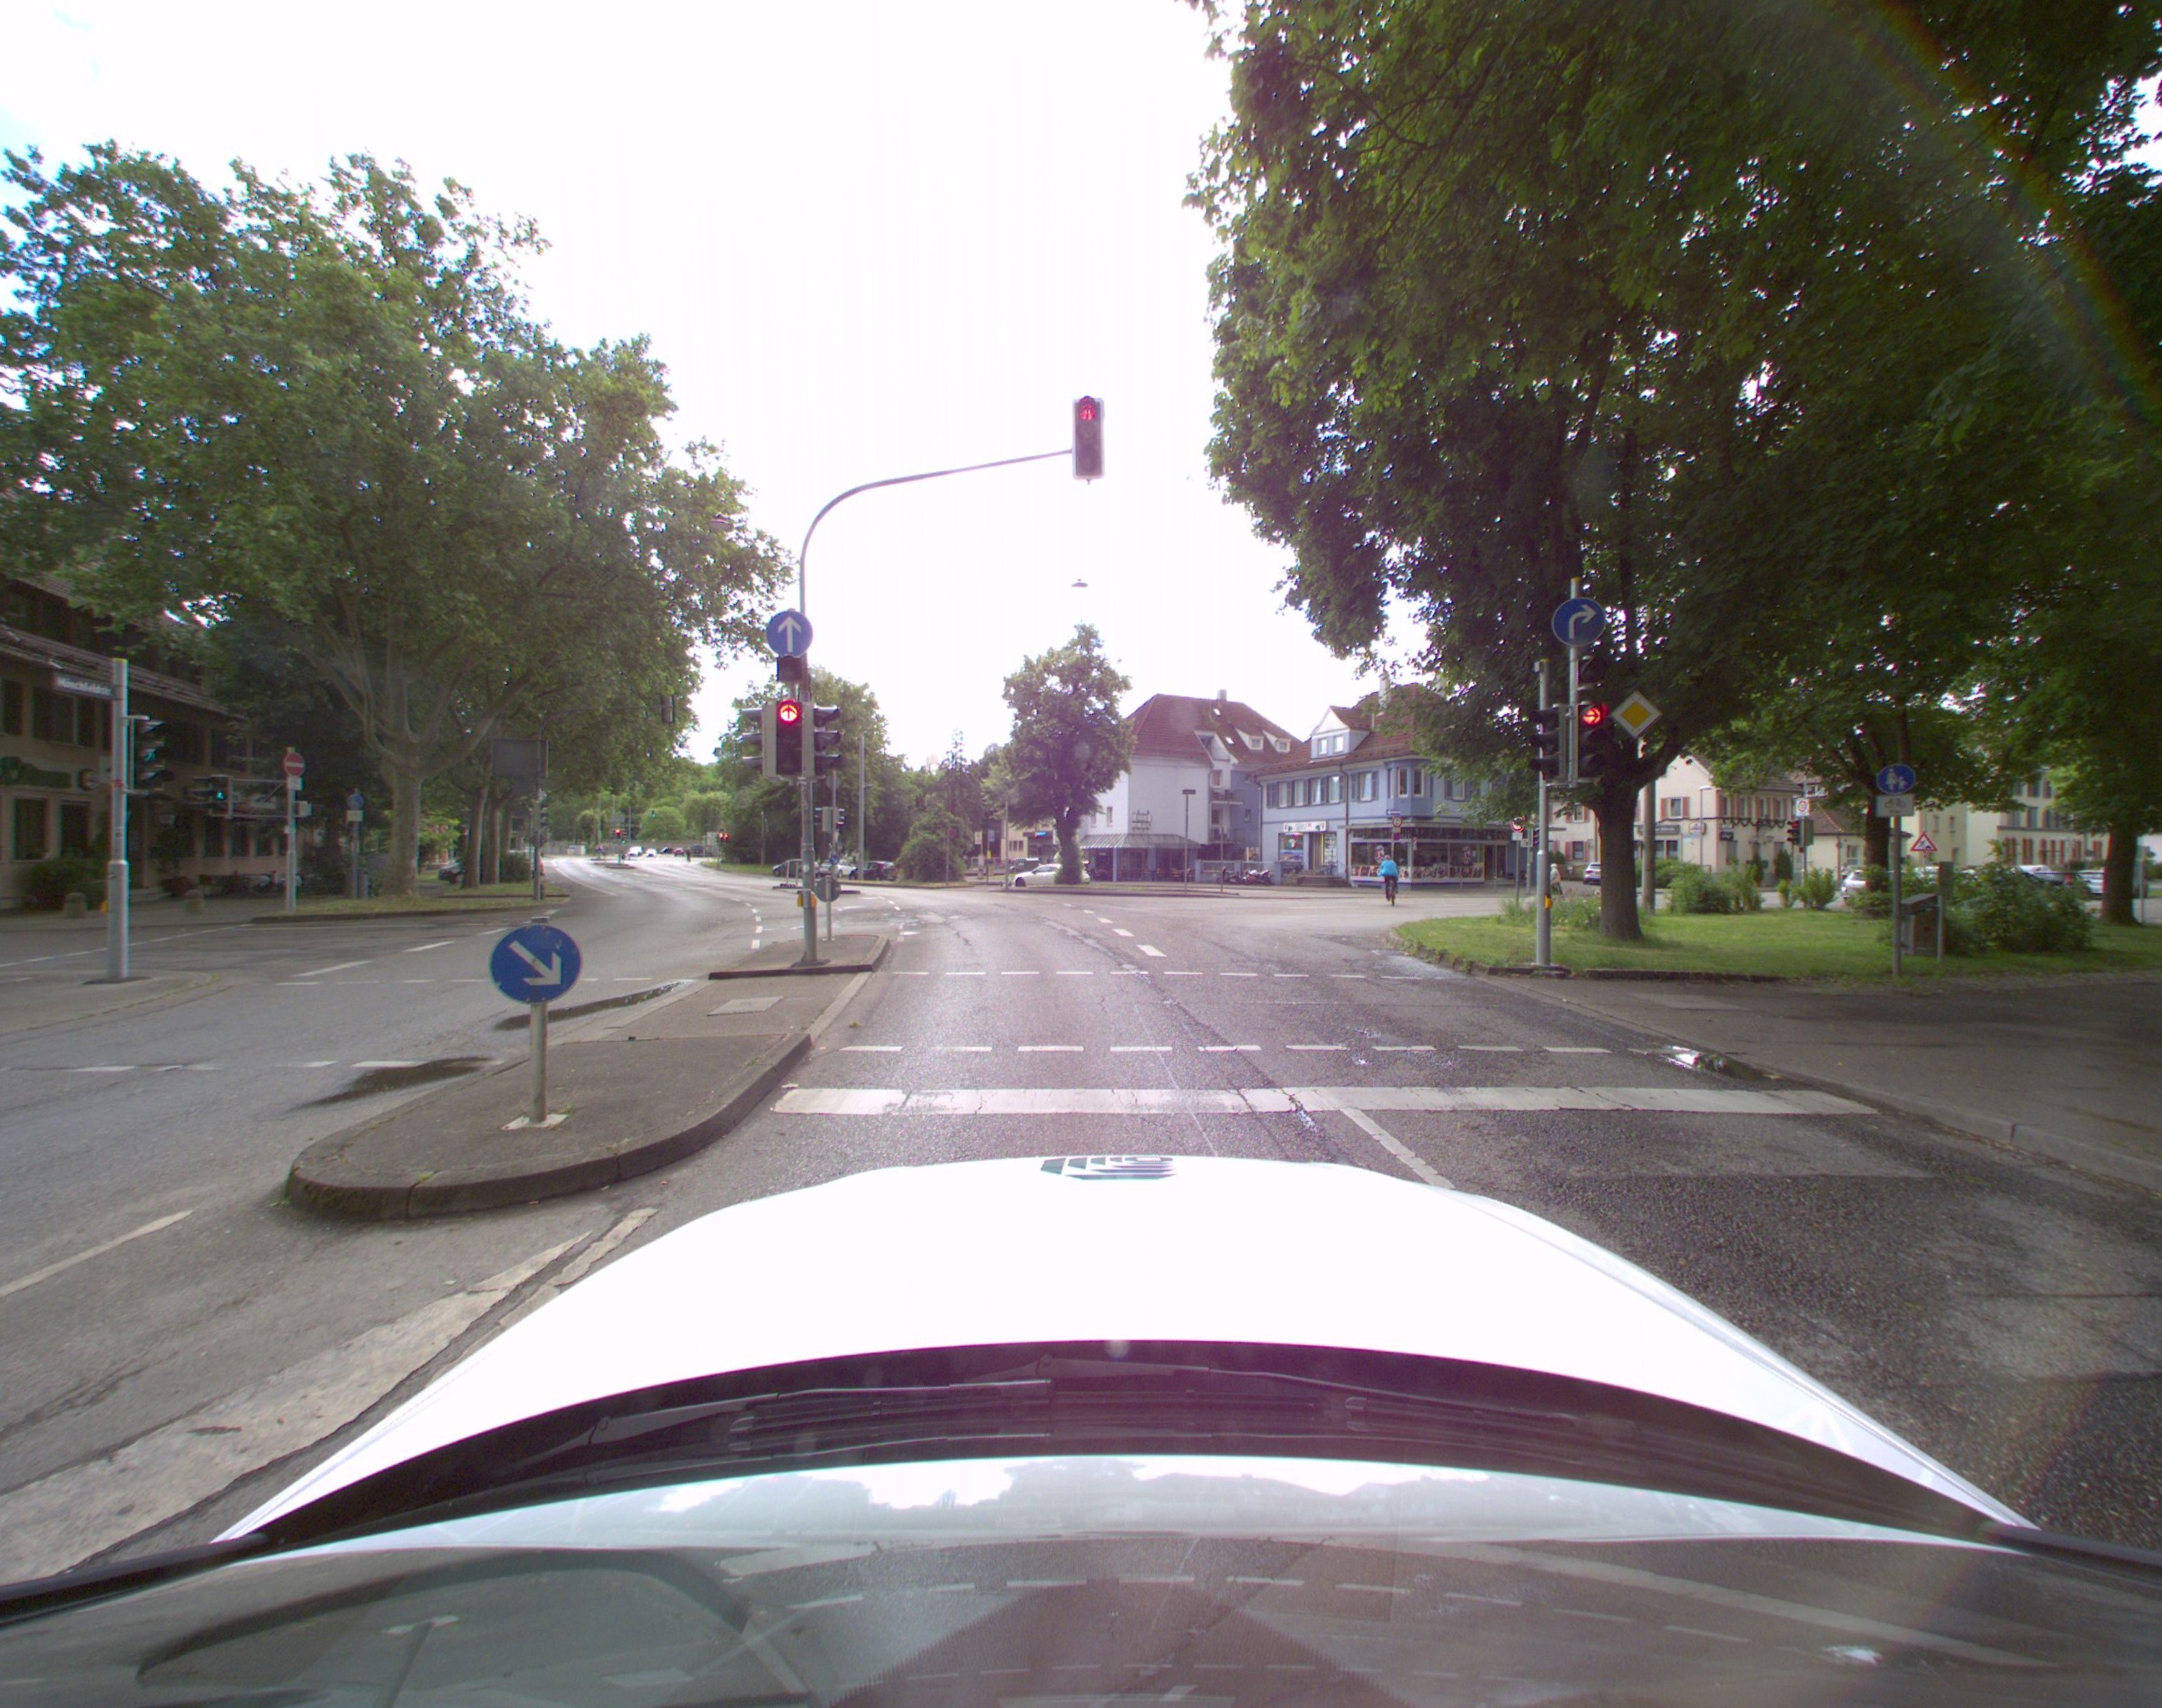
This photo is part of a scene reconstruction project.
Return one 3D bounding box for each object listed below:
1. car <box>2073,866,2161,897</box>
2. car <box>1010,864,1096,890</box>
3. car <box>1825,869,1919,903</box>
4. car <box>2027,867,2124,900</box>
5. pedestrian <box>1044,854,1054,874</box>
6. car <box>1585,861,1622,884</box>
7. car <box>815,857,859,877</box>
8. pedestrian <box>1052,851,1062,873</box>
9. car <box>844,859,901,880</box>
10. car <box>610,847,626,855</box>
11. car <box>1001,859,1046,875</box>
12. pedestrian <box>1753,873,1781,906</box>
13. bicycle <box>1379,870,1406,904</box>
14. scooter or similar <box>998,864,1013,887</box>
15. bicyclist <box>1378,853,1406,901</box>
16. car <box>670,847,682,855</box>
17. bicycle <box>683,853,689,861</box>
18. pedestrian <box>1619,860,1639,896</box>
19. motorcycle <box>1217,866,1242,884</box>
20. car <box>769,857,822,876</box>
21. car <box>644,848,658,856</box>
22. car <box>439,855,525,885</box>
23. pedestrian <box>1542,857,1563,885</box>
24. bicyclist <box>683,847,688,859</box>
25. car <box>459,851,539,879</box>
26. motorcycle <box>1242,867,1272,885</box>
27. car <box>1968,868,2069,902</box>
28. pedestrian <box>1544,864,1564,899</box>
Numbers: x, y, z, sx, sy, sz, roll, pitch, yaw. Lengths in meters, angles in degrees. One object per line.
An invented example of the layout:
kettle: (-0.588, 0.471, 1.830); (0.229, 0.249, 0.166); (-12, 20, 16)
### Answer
car: (52.581, 1.360, 41.291); (3.731, 1.457, 1.640); (0, 0, -17)
car: (-1.611, 1.262, 45.952); (4.654, 1.410, 1.914); (0, 0, 37)
car: (31.937, 1.257, 32.899); (3.007, 1.267, 1.455); (0, -1, -17)
car: (47.066, 1.361, 38.551); (3.731, 1.457, 1.640); (0, 0, -17)
pedestrian: (-3.221, 1.002, 81.071); (0.838, 2.014, 1.051); (0, -1, -12)
car: (32.441, 1.120, 50.650); (1.866, 1.391, 3.637); (0, 0, 31)
car: (-20.158, 1.044, 67.420); (1.848, 1.640, 3.768); (0, 0, 13)
pedestrian: (-1.759, 0.590, 59.417); (0.538, 1.560, 0.470); (-1, -1, 15)
car: (-13.845, 1.024, 54.016); (3.285, 1.352, 1.791); (0, 0, 29)
car: (-87.063, -0.510, 153.129); (3.293, 1.486, 1.594); (-1, -2, 43)
car: (-5.346, 1.190, 75.935); (3.948, 1.442, 1.742); (0, 0, -18)
pedestrian: (22.744, 1.165, 27.010); (0.505, 1.081, 0.514); (0, -1, -13)
bicycle: (11.140, 1.163, 29.124); (0.866, 1.149, 1.963); (0, 0, 22)
scooter or similar: (-3.968, 1.117, 42.864); (0.439, 1.175, 1.442); (0, -1, 11)
bicyclist: (11.050, 0.796, 28.949); (0.907, 1.651, 0.994); (0, -1, 21)
car: (-87.089, -0.592, 174.979); (2.006, 1.596, 3.962); (0, -1, -30)
bicycle: (-46.197, 0.335, 95.153); (0.559, 0.958, 2.014); (0, 0, -28)
pedestrian: (23.852, 1.053, 35.470); (0.687, 1.560, 0.671); (-1, -1, 33)
motorcycle: (9.117, 1.283, 50.070); (1.441, 1.088, 0.527); (-1, -1, 37)
car: (-22.612, 0.987, 64.528); (3.742, 1.465, 1.629); (0, 0, 20)
car: (-82.892, -0.377, 157.075); (2.988, 1.417, 1.509); (-1, -2, 43)
car: (-35.647, 0.924, 48.615); (4.015, 1.684, 1.979); (0, -1, -34)
pedestrian: (26.389, 0.969, 45.599); (0.671, 1.560, 0.743); (0, -1, -13)
bicyclist: (-46.144, -0.098, 95.064); (0.543, 1.342, 0.707); (0, -1, -29)
car: (-36.478, 0.646, 51.184); (4.015, 1.684, 1.979); (0, -1, -34)
motorcycle: (10.411, 1.295, 48.268); (1.609, 1.088, 0.631); (-1, -1, 34)
car: (42.332, 1.370, 36.787); (3.731, 1.457, 1.640); (0, 0, -17)
pedestrian: (21.079, 1.221, 36.275); (0.724, 1.560, 0.773); (-1, -1, 33)
